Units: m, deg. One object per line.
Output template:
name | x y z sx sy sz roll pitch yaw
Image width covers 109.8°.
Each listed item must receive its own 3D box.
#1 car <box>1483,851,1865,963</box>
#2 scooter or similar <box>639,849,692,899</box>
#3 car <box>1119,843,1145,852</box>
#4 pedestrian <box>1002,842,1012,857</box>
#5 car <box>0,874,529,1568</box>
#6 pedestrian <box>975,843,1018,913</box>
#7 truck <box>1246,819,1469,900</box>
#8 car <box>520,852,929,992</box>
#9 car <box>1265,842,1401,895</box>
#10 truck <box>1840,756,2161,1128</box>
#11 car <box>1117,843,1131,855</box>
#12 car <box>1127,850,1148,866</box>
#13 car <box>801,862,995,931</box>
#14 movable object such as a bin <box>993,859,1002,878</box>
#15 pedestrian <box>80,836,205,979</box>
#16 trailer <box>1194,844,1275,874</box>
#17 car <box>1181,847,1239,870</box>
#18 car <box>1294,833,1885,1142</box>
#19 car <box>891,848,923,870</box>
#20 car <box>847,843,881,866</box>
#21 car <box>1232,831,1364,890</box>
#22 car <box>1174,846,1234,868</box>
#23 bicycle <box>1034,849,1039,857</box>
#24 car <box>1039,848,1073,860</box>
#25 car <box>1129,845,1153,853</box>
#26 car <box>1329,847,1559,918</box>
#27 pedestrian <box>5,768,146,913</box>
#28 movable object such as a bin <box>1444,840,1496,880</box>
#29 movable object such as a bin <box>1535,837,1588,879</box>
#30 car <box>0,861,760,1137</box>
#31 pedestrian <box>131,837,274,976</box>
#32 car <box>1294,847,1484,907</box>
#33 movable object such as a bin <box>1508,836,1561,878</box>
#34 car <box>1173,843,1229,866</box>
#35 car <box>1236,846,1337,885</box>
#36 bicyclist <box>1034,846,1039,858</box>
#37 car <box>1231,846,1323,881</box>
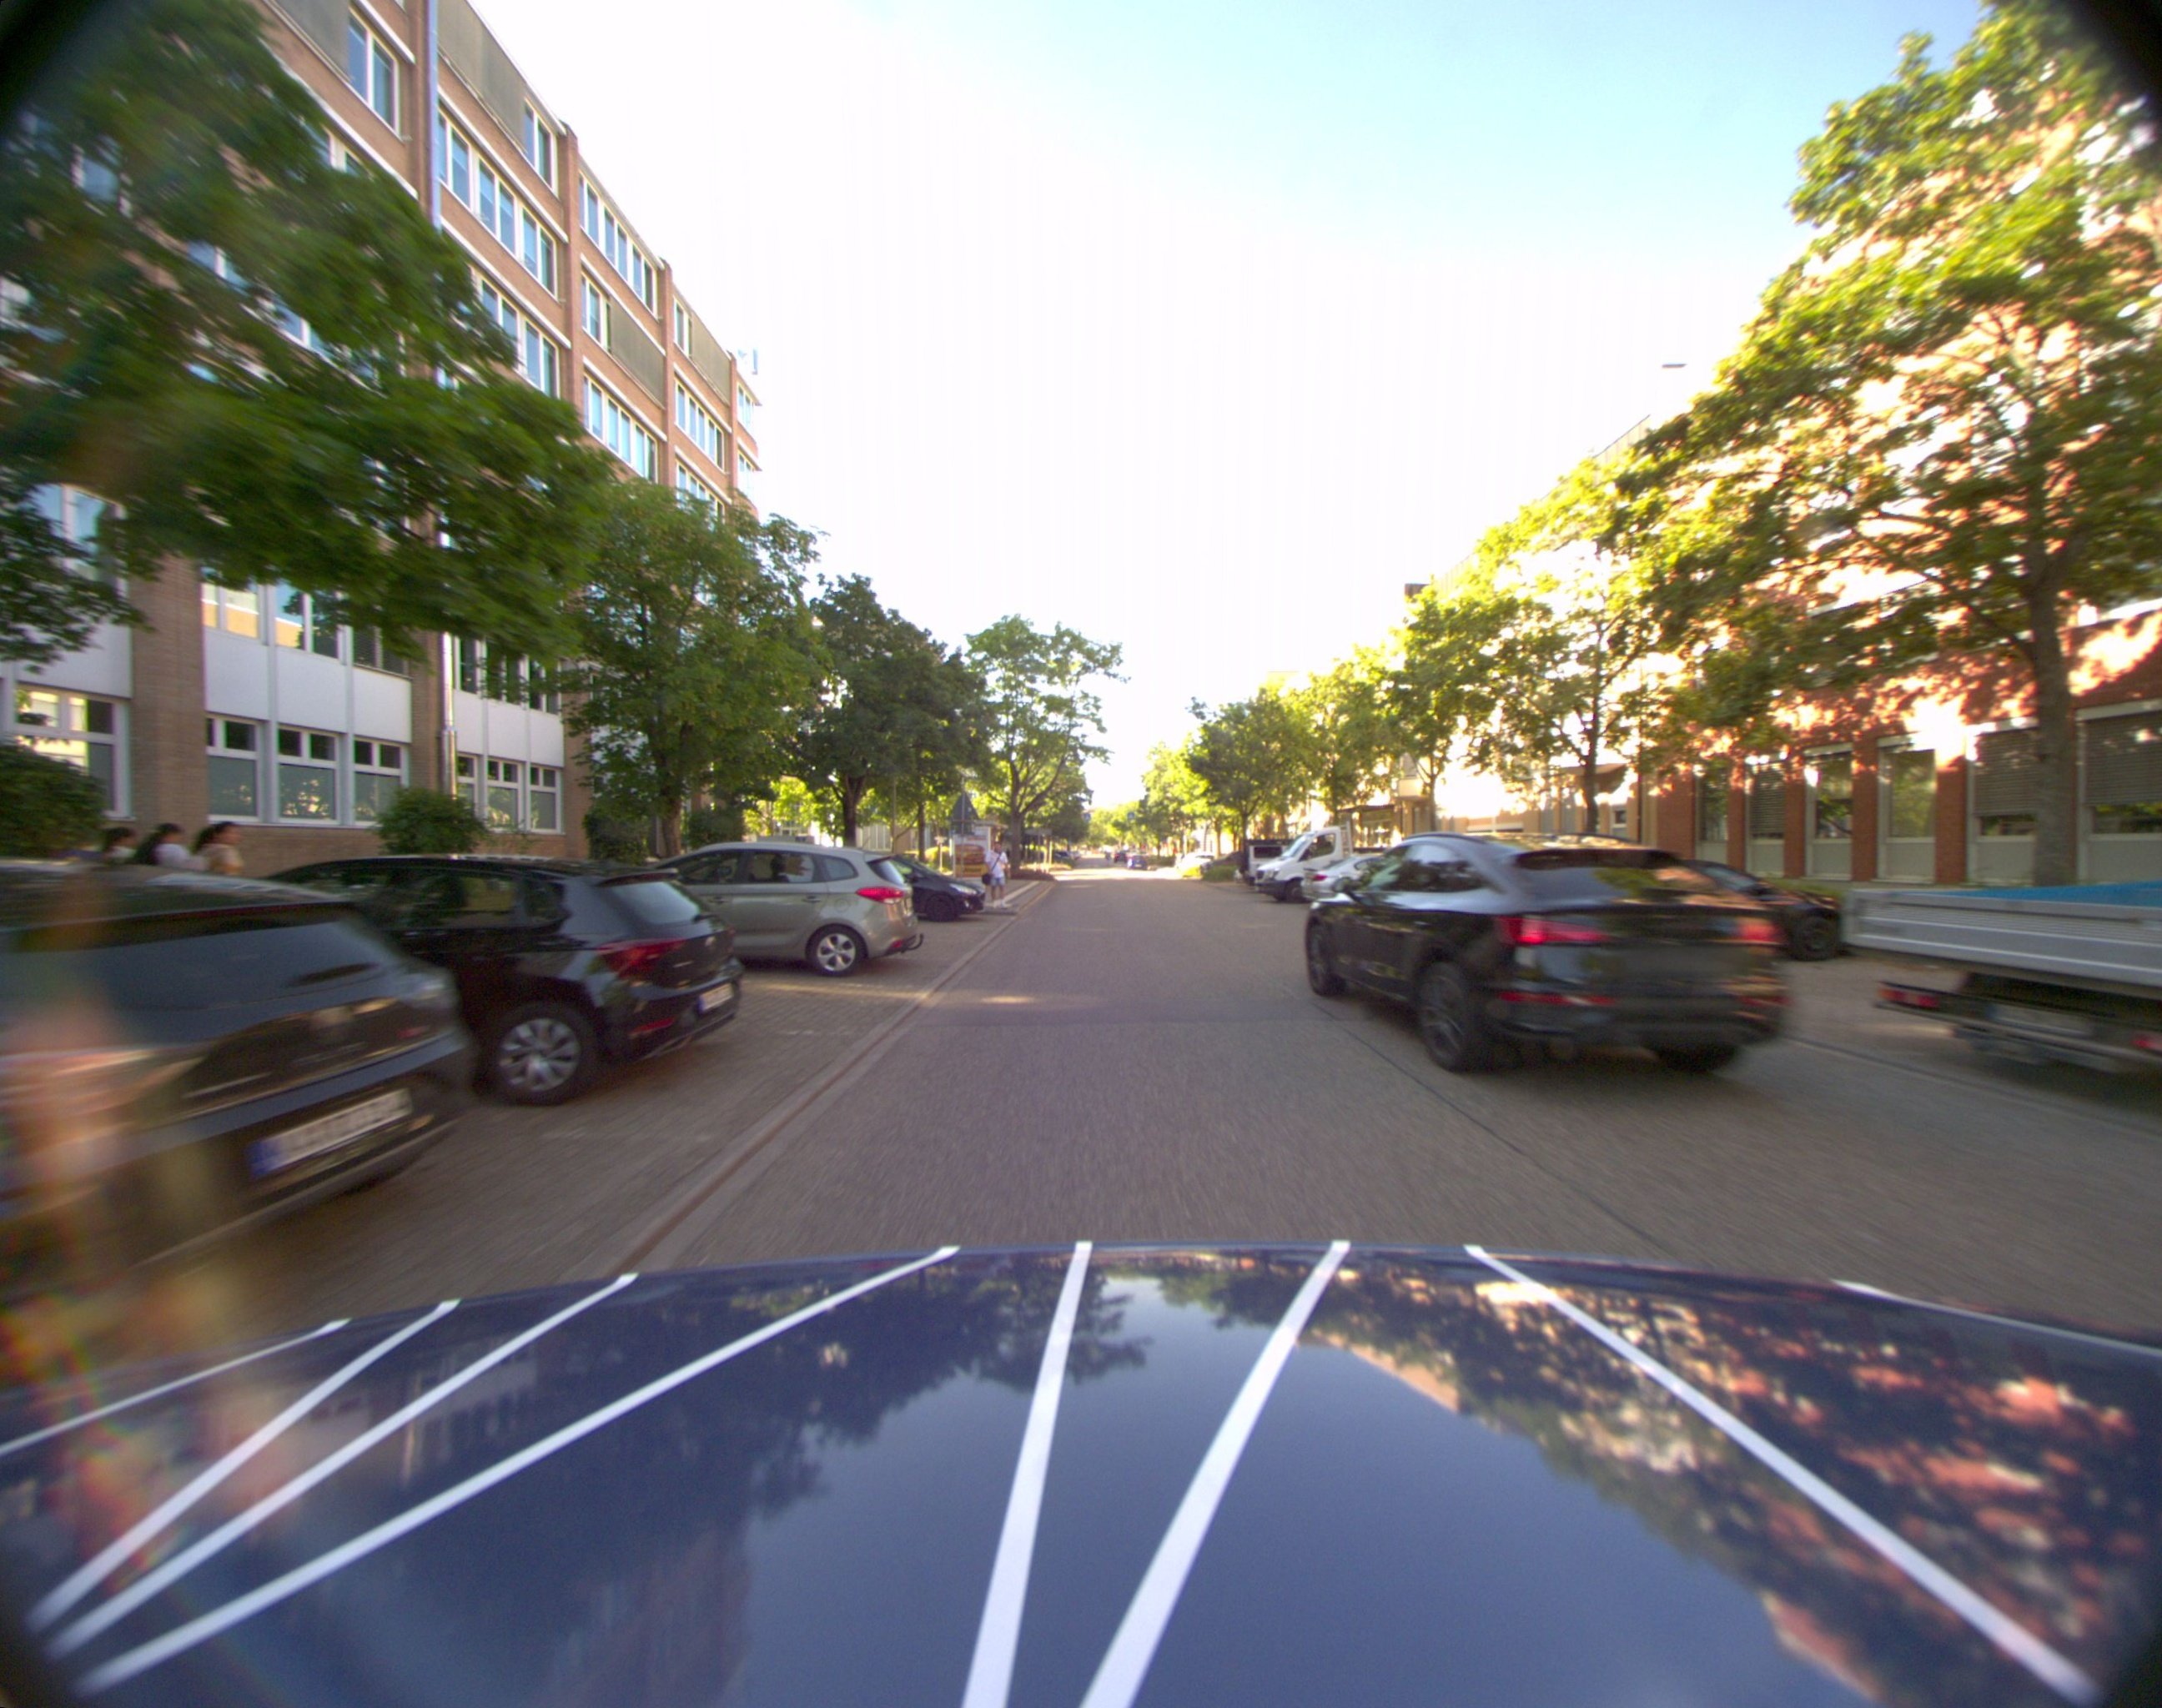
car | 8.226 0.704 10.883 3.995 1.427 1.789 -1 1 5
scooter or similar | -11.599 0.531 21.284 0.550 1.318 1.805 -2 1 -4
car | 10.541 -1.327 156.583 5.317 1.876 2.000 0 1 2
pedestrian | -8.902 -0.558 91.442 1.037 1.788 1.018 -2 1 0
car | -4.416 0.839 2.456 3.857 1.475 1.824 2 0 -2
pedestrian | -2.146 0.600 19.266 0.921 1.701 0.697 3 0 -12
truck | 8.600 0.161 24.111 6.247 2.408 2.187 0 1 1
car | -4.289 0.779 9.811 4.365 1.588 1.938 0 1 -5
car | 8.806 0.466 26.808 4.117 1.652 2.000 -2 1 0
truck | 8.188 0.468 4.549 4.996 1.948 2.138 0 1 3
car | 5.955 -0.699 105.108 1.784 1.503 3.999 0 1 1
car | 5.003 0.342 67.448 1.648 1.412 3.999 0 1 0
car | -3.981 0.909 17.040 3.945 1.431 1.774 0 1 -1
movable object such as a bin | -3.480 0.609 31.696 0.299 0.749 0.467 2 1 1
pedestrian | -10.292 0.567 8.356 0.604 1.512 0.594 0 1 -2
trailer | 8.898 0.289 44.263 4.272 1.563 1.855 -2 1 -3
car | 9.079 0.287 53.825 3.764 1.444 1.754 -2 1 0
car | 3.371 0.699 6.294 1.897 1.674 4.351 0 1 -1
car | -14.169 0.369 62.124 1.742 1.557 4.363 -1 3 -2
car | -14.436 0.055 50.640 1.657 1.454 3.914 -1 0 -9
car | 8.295 0.226 29.352 4.493 2.040 1.999 -2 1 -1
car | 9.144 0.219 56.740 4.162 1.394 1.800 -2 1 0
bicycle | -5.933 -0.192 101.499 0.535 1.072 1.919 0 1 2
car | -3.159 0.032 96.047 4.127 1.363 1.654 2 1 -3
car | 10.570 -0.876 134.162 4.003 1.411 1.618 -2 1 0
car | 8.513 0.643 18.123 4.553 1.434 1.890 -2 0 -1
pedestrian | -11.041 -0.141 8.363 0.758 1.543 0.559 0 1 -2
movable object such as a bin | 17.917 0.253 35.061 1.603 1.786 1.664 0 1 2
movable object such as a bin | 18.147 0.137 28.743 1.149 1.554 1.243 -1 1 -12
car | -4.379 0.822 4.971 3.811 1.400 1.701 2 0 -4
pedestrian | -9.556 0.545 8.298 0.702 1.449 0.715 0 1 -2
car | 8.423 0.593 21.056 4.438 1.478 2.000 -1 1 -1
movable object such as a bin | 17.903 0.102 30.035 1.149 1.610 1.440 -1 1 -11
car | 9.322 0.001 59.249 3.997 1.561 1.728 -3 1 0
car | 8.626 0.467 32.102 3.787 1.484 1.833 -2 1 2
bicyclist | -5.942 -0.301 101.478 0.538 1.627 0.822 0 1 2
car | 9.000 0.411 35.178 3.843 1.452 1.733 -2 1 4
